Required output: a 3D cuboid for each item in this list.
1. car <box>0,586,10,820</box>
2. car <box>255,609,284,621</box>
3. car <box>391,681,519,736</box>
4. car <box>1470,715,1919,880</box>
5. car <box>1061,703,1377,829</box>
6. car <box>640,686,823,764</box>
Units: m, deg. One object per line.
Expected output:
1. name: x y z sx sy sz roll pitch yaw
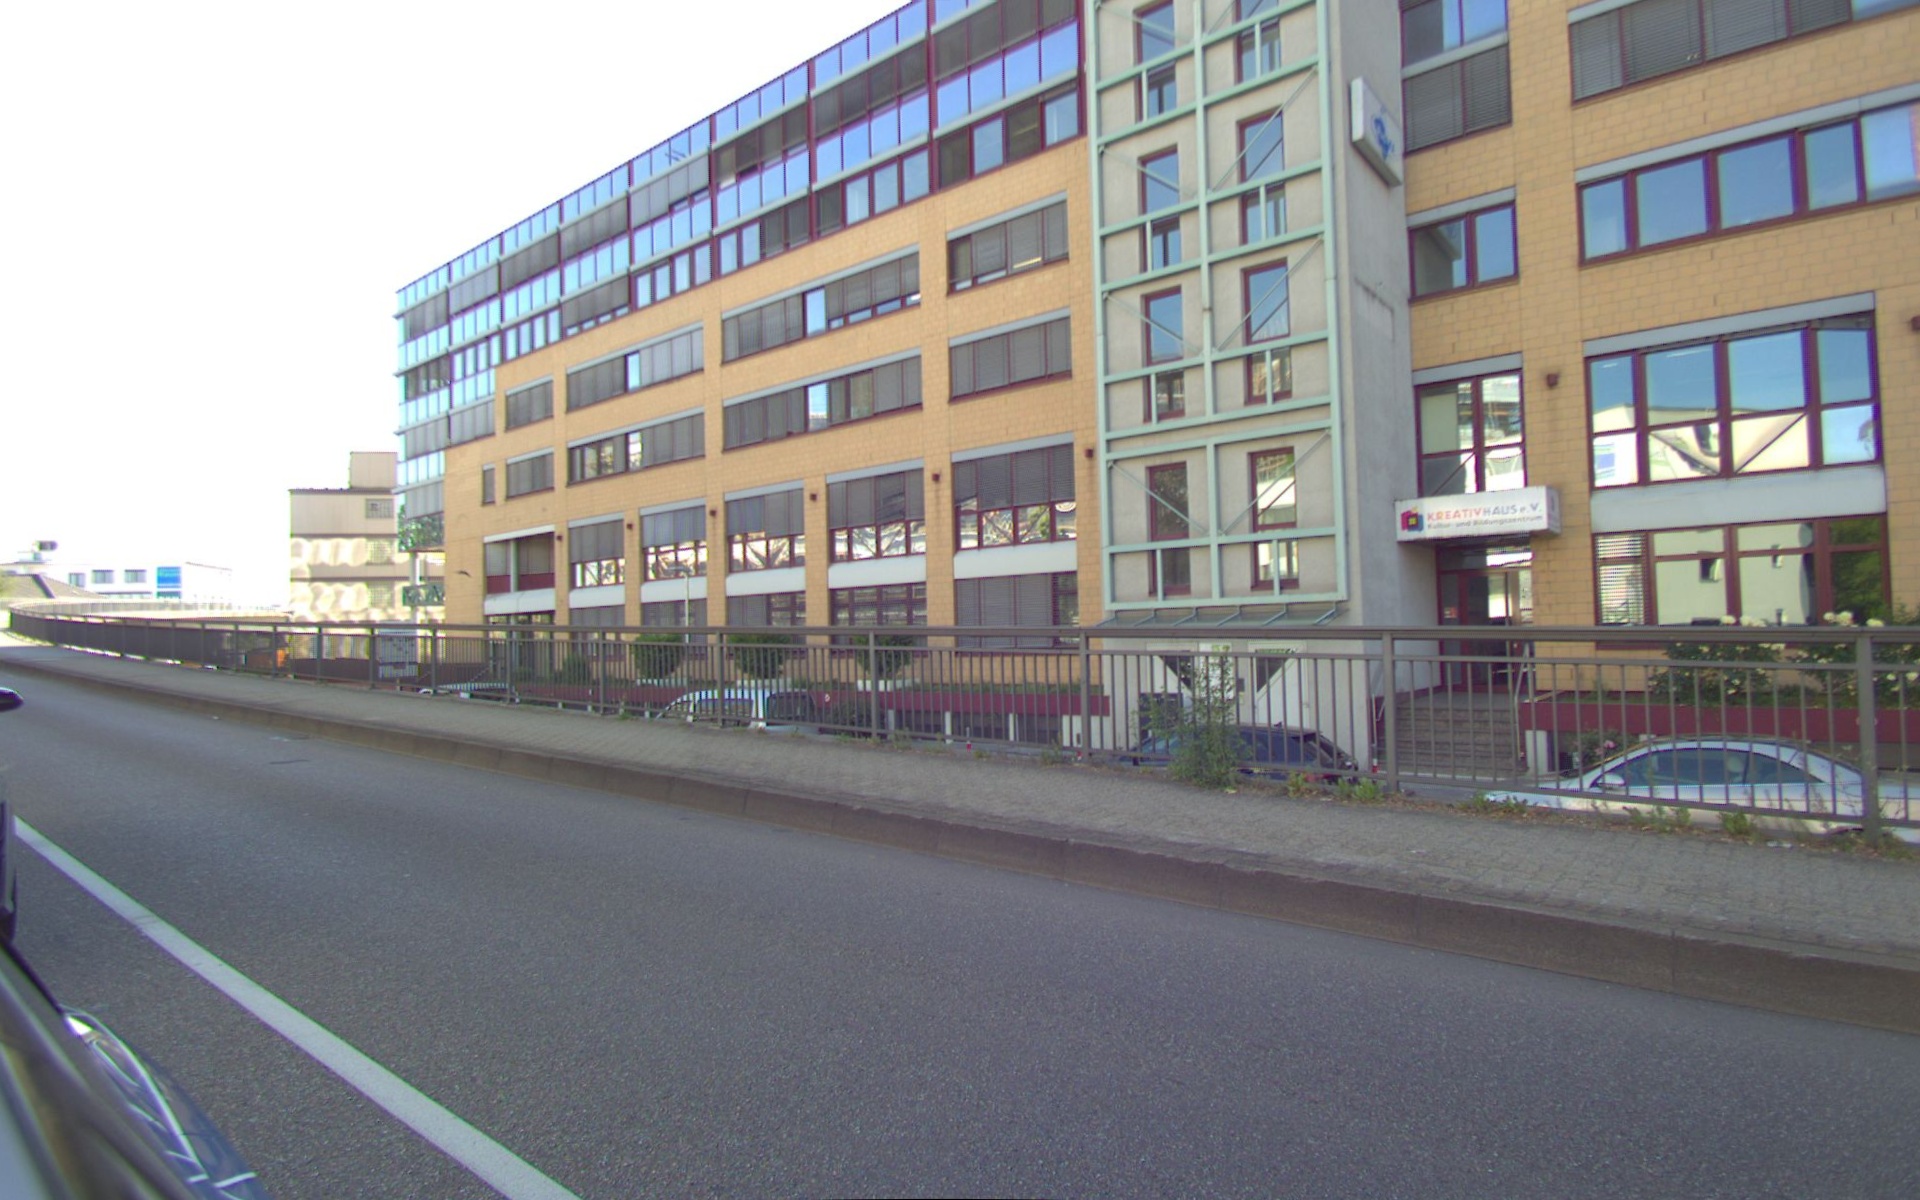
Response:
1. car: -5.847 0.816 4.660 3.998 1.660 1.726 -3 -4 41
2. car: -92.019 2.019 134.851 1.920 1.475 4.012 5 -3 -16
3. car: -13.824 2.920 27.629 3.805 1.279 1.744 -3 -4 39
4. car: 7.682 1.879 10.210 4.254 1.175 1.704 -3 -4 40
5. car: 3.381 2.111 13.585 3.805 1.279 1.560 -3 -4 40
6. car: -4.598 2.418 20.130 3.805 1.279 1.560 -3 -4 40
